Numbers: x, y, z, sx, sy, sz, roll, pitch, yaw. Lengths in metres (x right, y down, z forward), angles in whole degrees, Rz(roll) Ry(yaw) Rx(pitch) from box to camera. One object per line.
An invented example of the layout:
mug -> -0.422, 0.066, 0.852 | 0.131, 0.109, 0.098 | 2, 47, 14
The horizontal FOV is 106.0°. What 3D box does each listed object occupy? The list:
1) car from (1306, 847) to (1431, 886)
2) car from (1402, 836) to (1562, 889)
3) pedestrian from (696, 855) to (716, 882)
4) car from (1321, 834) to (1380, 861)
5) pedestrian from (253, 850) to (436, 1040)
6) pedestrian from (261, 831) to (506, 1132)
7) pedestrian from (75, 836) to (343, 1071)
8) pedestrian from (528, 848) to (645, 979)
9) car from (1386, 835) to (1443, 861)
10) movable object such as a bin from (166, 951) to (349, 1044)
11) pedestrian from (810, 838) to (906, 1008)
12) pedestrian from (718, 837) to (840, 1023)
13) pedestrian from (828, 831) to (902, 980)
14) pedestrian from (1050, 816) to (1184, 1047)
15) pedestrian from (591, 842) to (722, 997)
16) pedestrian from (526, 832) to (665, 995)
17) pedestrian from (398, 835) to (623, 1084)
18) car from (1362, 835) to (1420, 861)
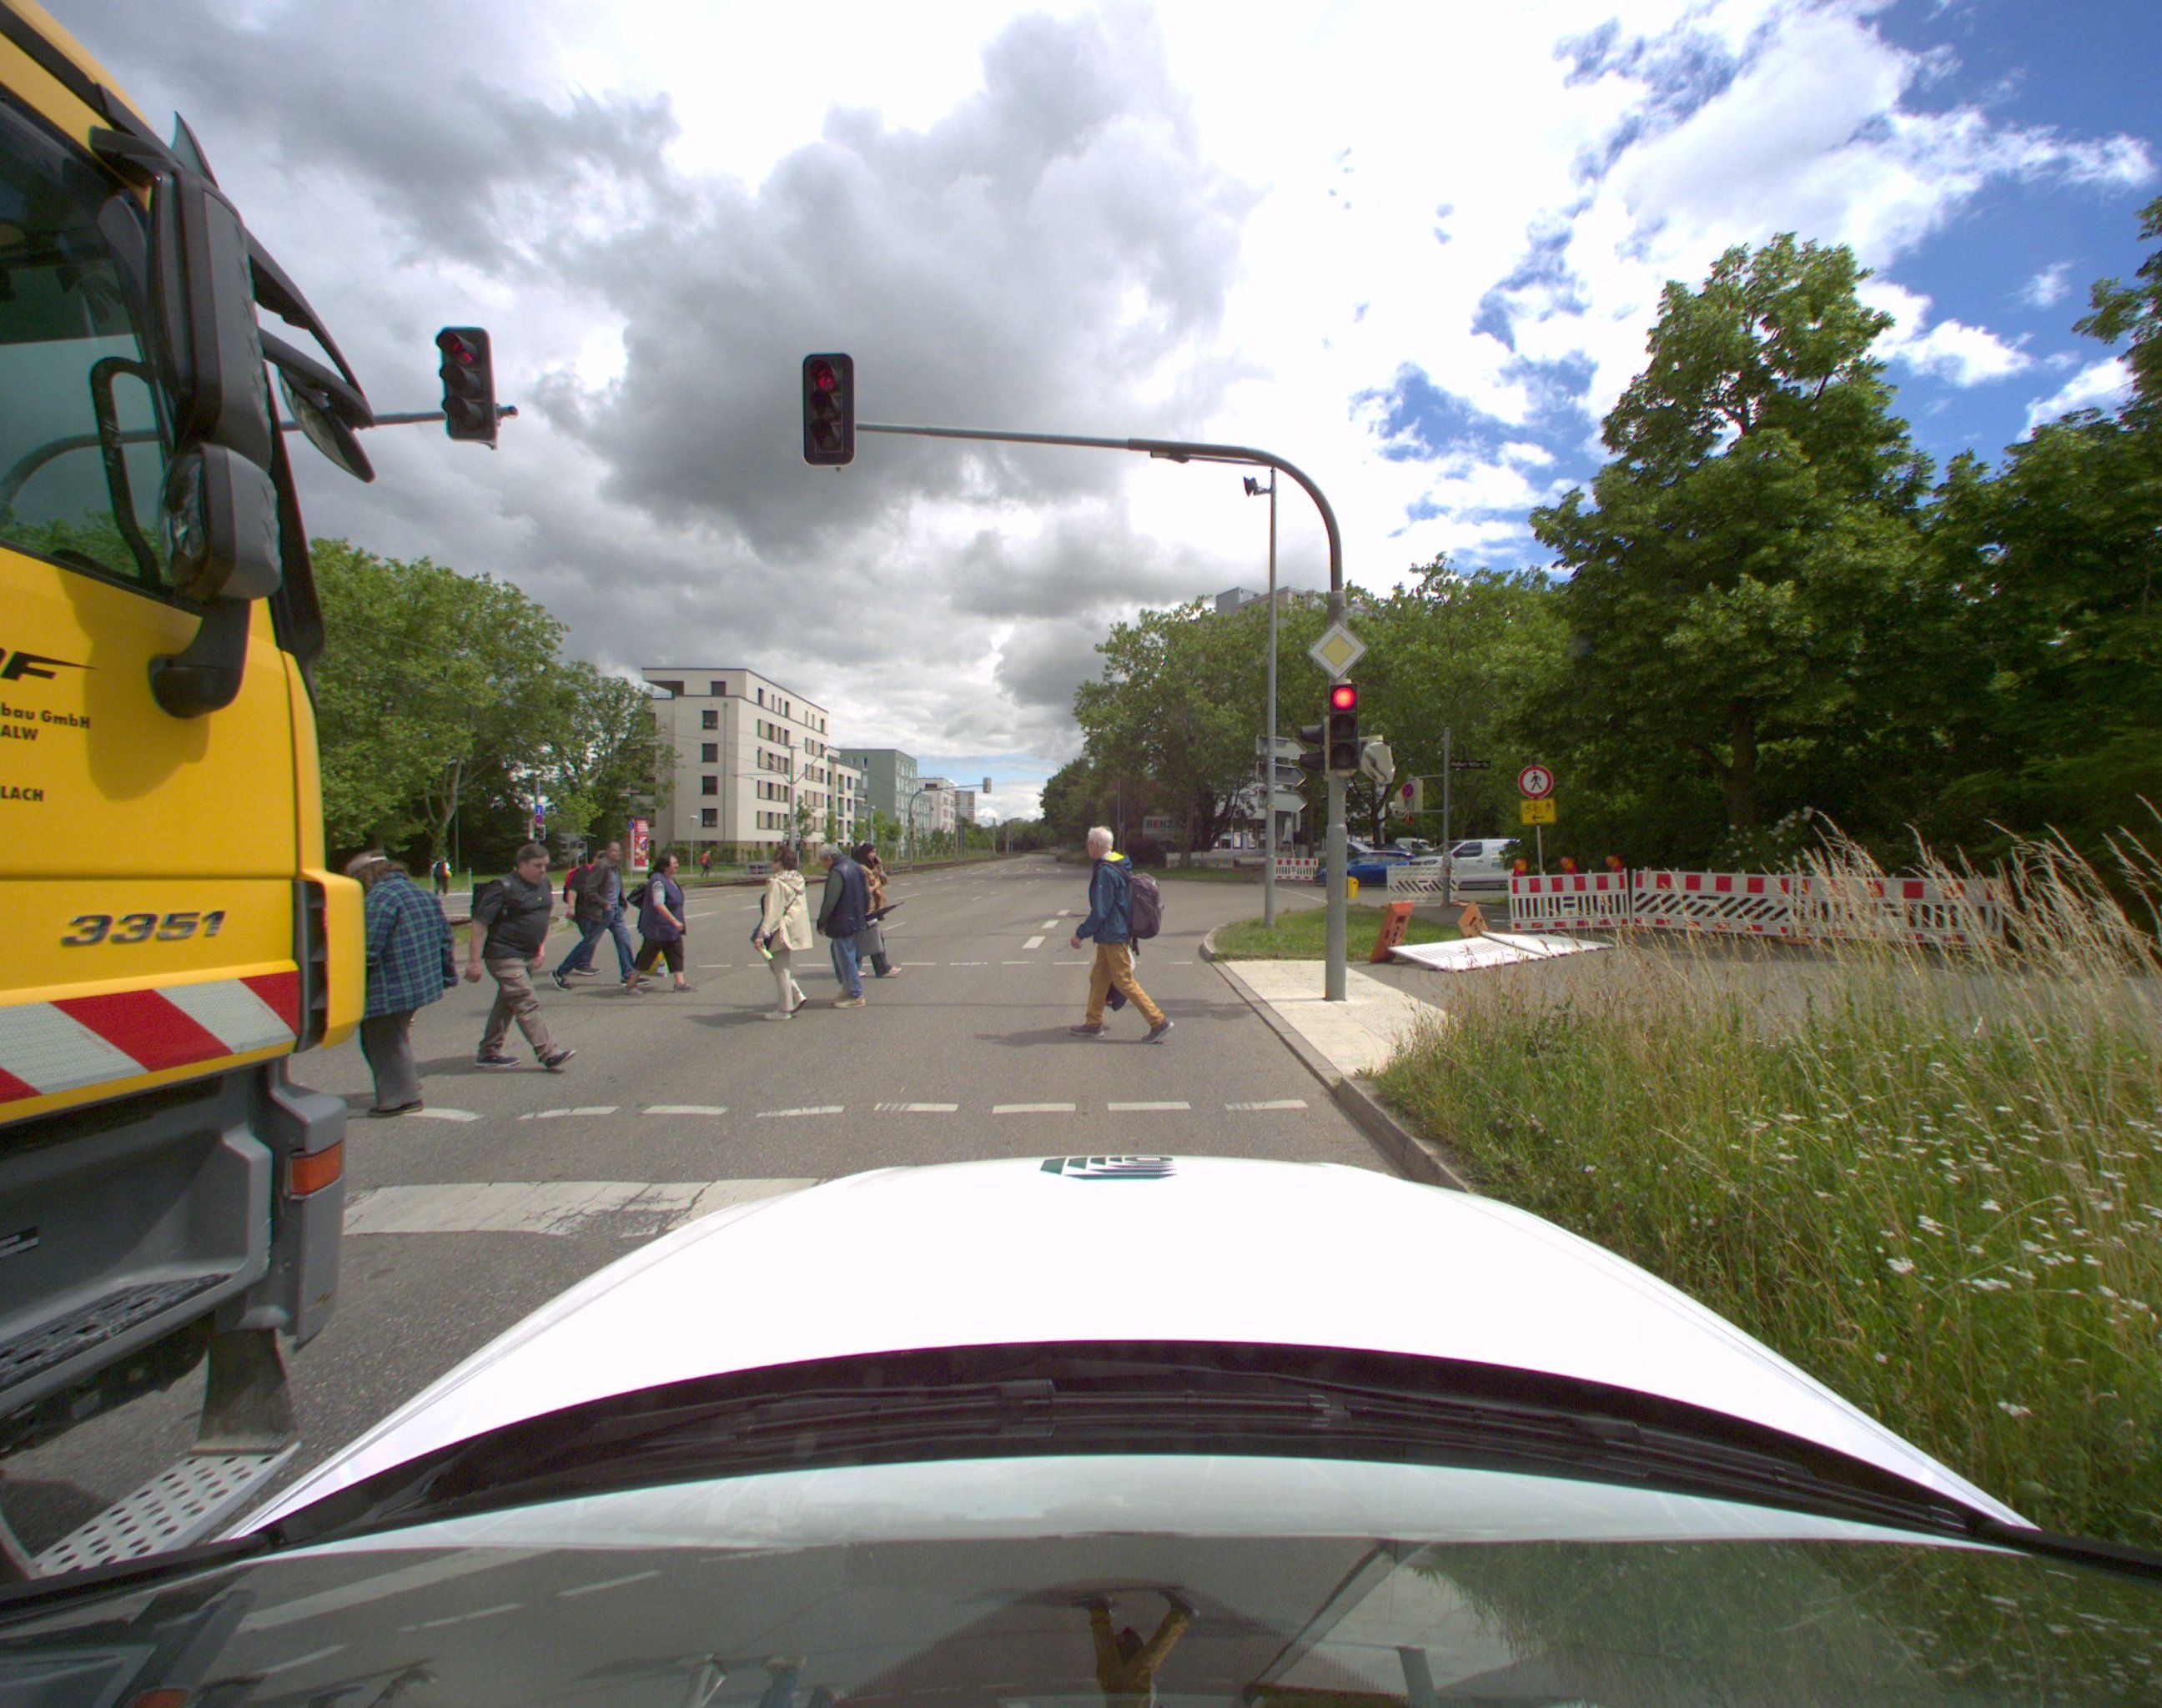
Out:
car -> 11.758, 0.490, 33.485 | 4.461, 1.486, 1.989 | -1, 0, 0
car -> 14.917, 0.302, 30.453 | 5.063, 1.874, 1.947 | -1, 0, -2
pedestrian -> -21.478, 0.839, 46.608 | 0.827, 1.516, 0.636 | -1, 0, 1
car -> 20.569, -0.483, 62.248 | 2.006, 2.013, 3.962 | -1, 0, -29
pedestrian -> -6.335, 0.745, 7.049 | 0.877, 1.554, 0.747 | -1, 0, 2
pedestrian -> -4.163, 0.717, 4.917 | 0.818, 1.671, 0.734 | -1, 0, 5
pedestrian -> -6.569, 0.700, 6.204 | 1.017, 1.648, 0.930 | -1, 0, 2
pedestrian -> -6.320, 0.729, 10.461 | 0.888, 1.596, 0.909 | -1, 0, 5
car -> 27.315, -0.493, 66.862 | 2.006, 2.013, 3.962 | -1, 0, -29
movable object such as a bin -> -7.119, 1.223, 7.082 | 0.792, 0.662, 0.778 | -1, 0, 2
pedestrian -> -2.245, 0.661, 8.303 | 0.869, 1.634, 0.763 | -1, 0, -11
pedestrian -> -2.773, 0.668, 7.555 | 0.819, 1.640, 0.733 | -1, 0, 1
pedestrian -> -2.639, 0.602, 10.034 | 0.782, 1.742, 0.825 | -1, 0, -10
pedestrian -> 0.333, 0.595, 6.783 | 1.004, 1.774, 0.950 | -1, 0, 7
pedestrian -> -4.616, 0.677, 8.922 | 0.909, 1.607, 0.930 | -1, 0, 2
pedestrian -> -5.540, 0.647, 9.355 | 0.998, 1.773, 0.930 | -1, 0, 2
pedestrian -> -4.037, 0.700, 5.847 | 0.954, 1.648, 0.881 | -1, 0, 3
car -> 24.600, -0.490, 64.729 | 2.006, 2.013, 3.962 | -1, 0, -29
